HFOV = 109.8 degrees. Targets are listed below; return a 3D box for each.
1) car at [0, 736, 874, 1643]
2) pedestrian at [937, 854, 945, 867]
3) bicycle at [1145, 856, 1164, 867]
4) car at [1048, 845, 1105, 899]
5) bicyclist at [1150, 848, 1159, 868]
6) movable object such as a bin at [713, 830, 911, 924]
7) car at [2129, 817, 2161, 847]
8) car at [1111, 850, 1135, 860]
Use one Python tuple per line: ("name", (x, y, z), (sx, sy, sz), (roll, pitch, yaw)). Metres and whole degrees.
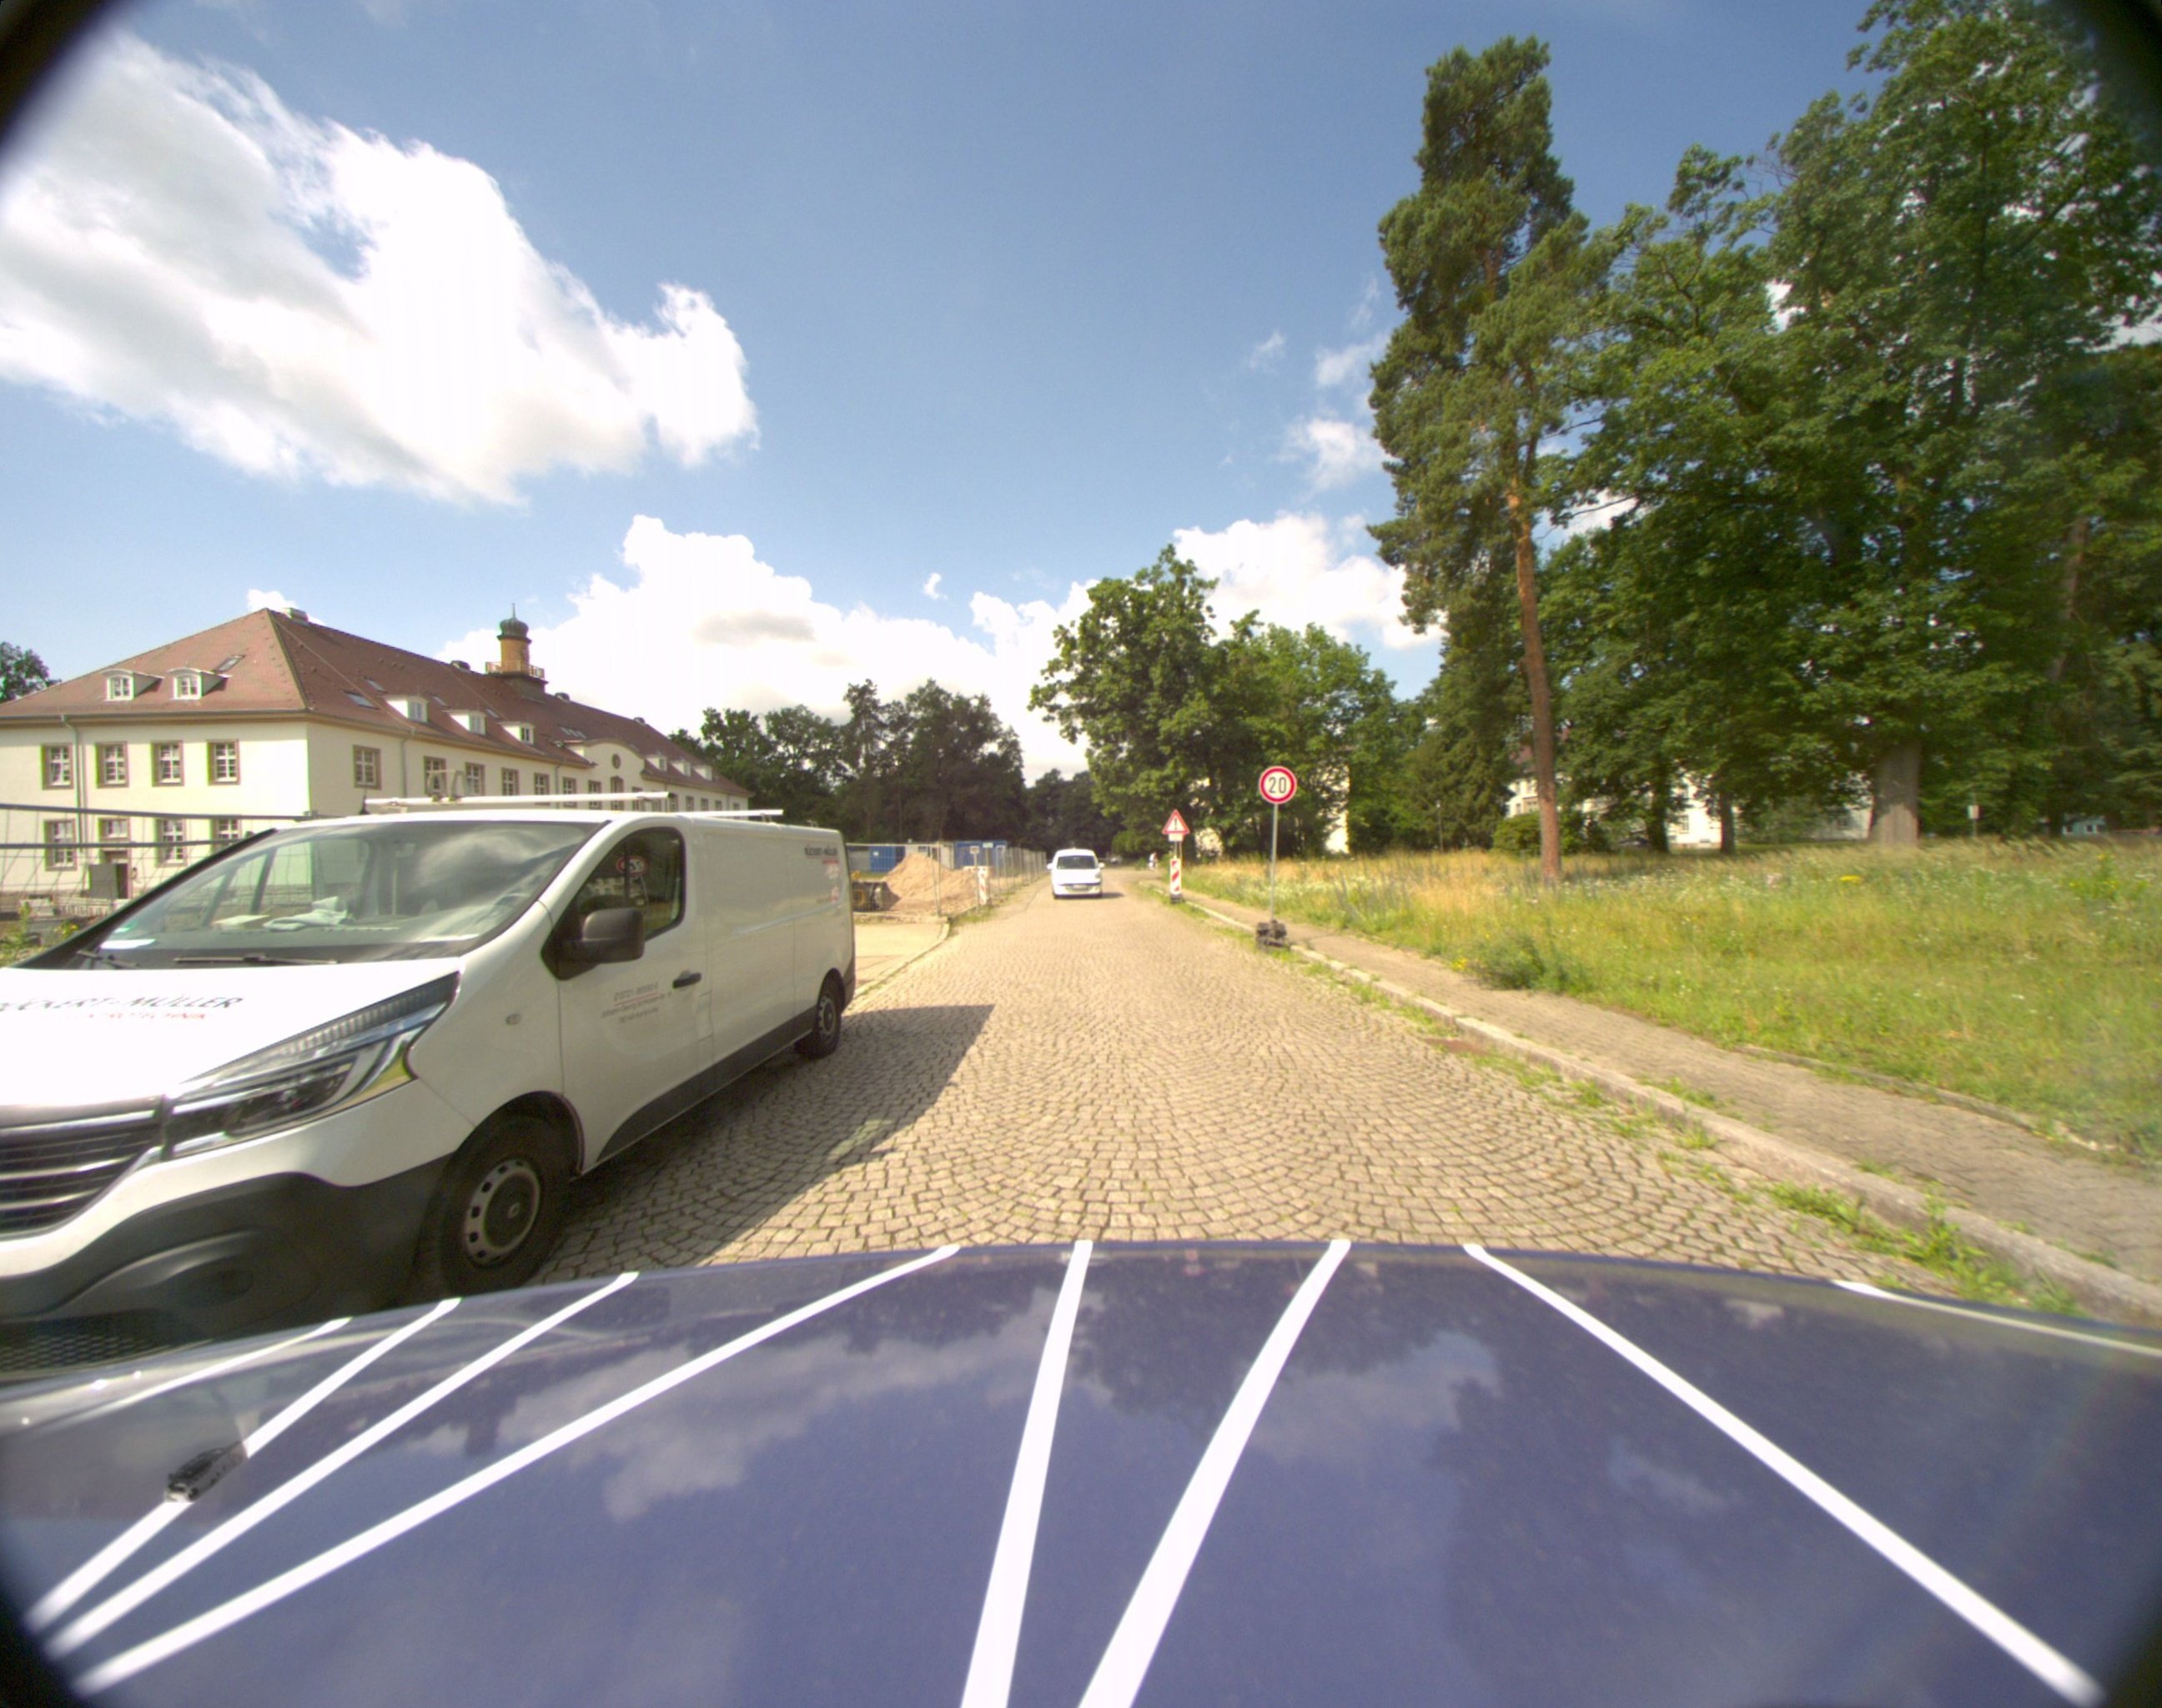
("car", (-3.043, 0.756, 4.546), (1.919, 2.041, 5.678), (-1, 1, 1))
("pedestrian", (-13.626, 0.672, 73.879), (0.602, 1.235, 0.682), (-2, 1, -1))
("bicycle", (6.831, 0.727, 70.540), (1.553, 0.990, 0.636), (-2, 1, 36))
("car", (-0.270, 0.663, 29.192), (1.840, 1.857, 4.829), (-2, -1, -4))
("bicyclist", (6.817, 0.362, 70.541), (0.569, 1.760, 0.636), (-2, 1, 36))
("movable object such as a bin", (-7.950, 0.629, 23.185), (2.144, 2.507, 5.667), (-1, 0, 28))
("car", (53.460, -1.082, 36.362), (4.069, 1.404, 1.900), (-1, 1, -1))
("car", (7.369, 0.212, 132.866), (4.084, 1.634, 1.767), (-1, 1, -1))
